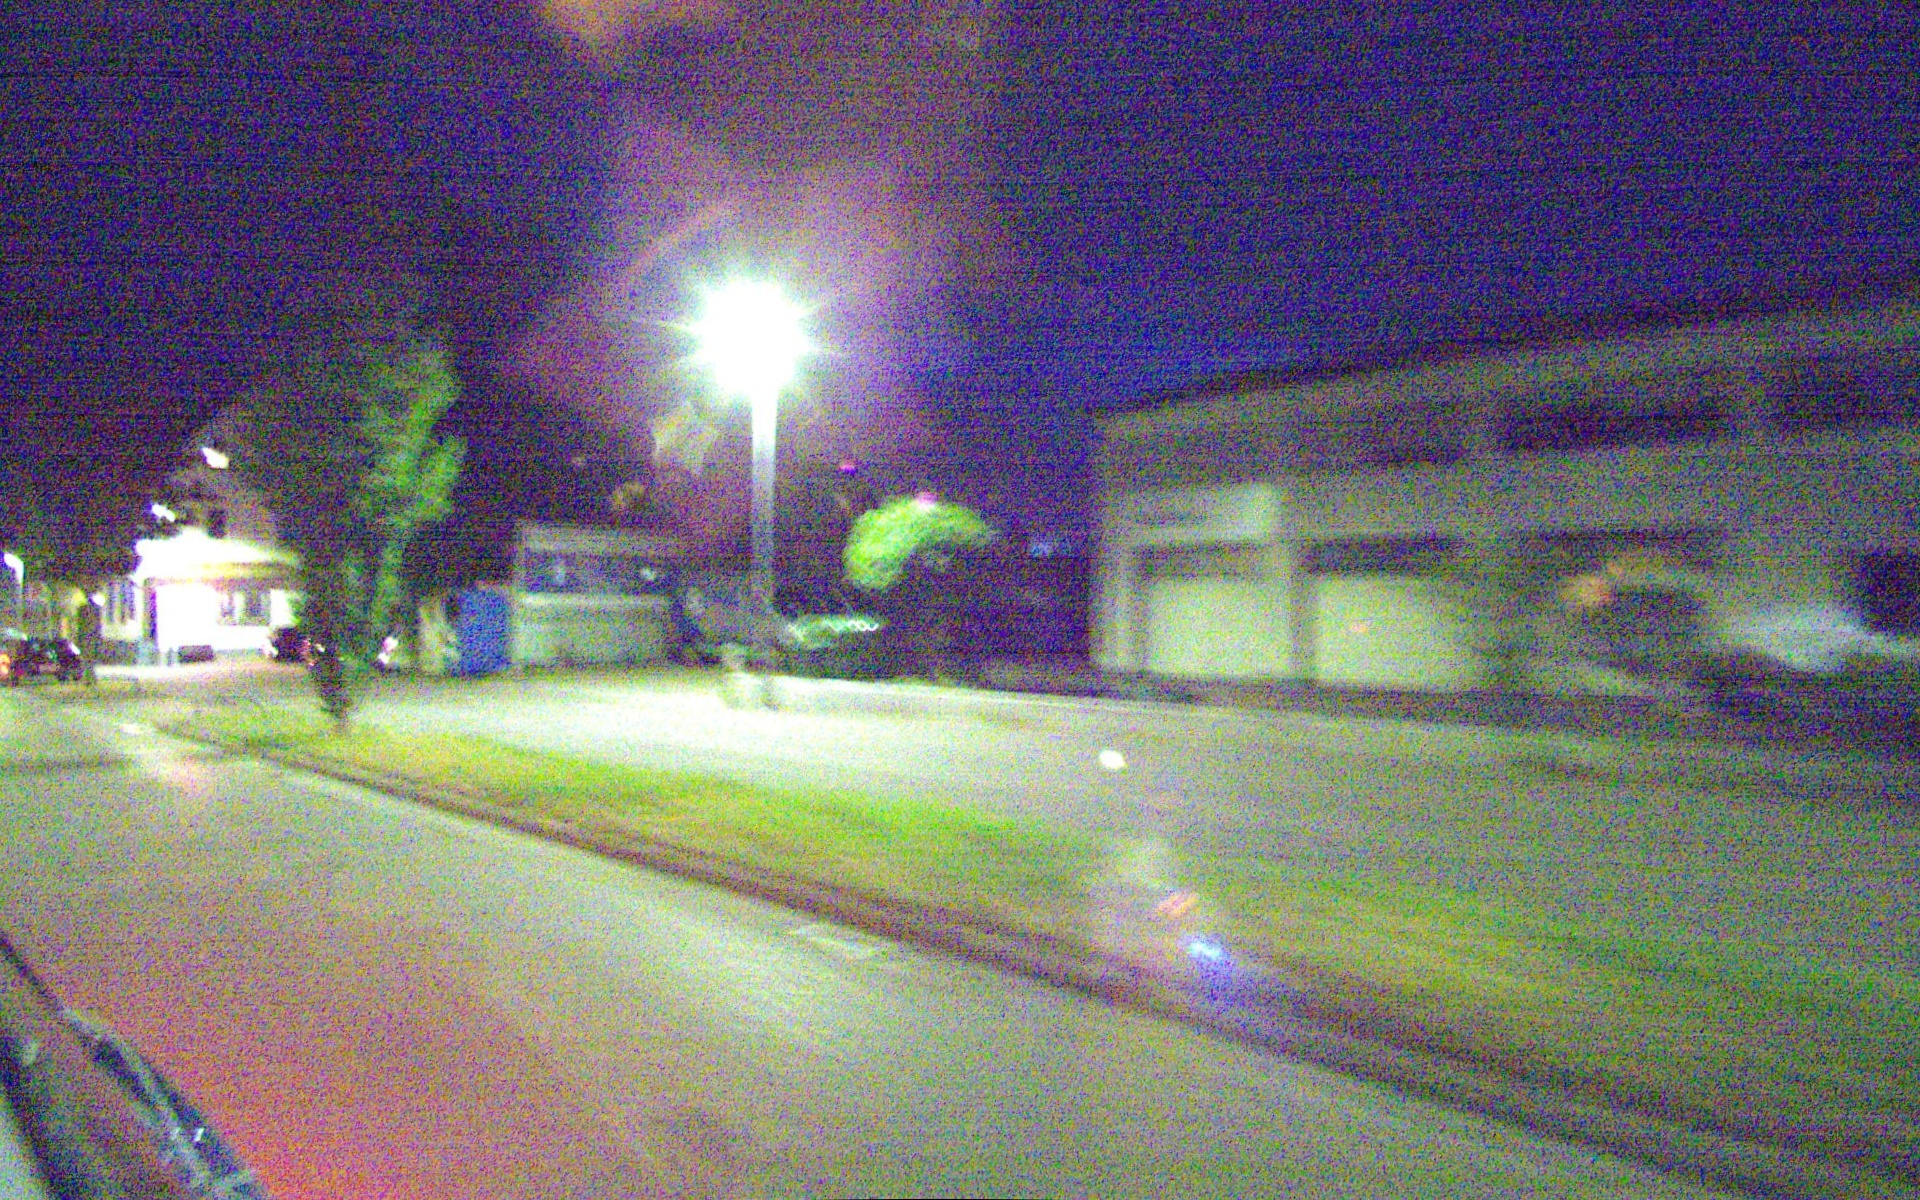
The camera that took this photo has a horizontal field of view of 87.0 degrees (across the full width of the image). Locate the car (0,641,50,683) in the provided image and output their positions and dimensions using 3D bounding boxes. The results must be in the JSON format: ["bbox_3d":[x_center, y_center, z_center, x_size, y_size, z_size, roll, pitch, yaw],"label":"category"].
[{"bbox_3d":[-35.937,2.317,38.261,3.963,1.480,1.752,-2,-2,41],"label":"car"}]

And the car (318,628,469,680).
[{"bbox_3d":[-19.406,1.858,34.768,2.000,1.675,4.071,-2,-4,42],"label":"car"}]

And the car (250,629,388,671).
[{"bbox_3d":[-25.671,1.968,40.654,2.024,1.573,4.276,-2,-2,34],"label":"car"}]

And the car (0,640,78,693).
[{"bbox_3d":[-28.555,1.983,31.036,4.006,1.480,1.731,-2,-2,41],"label":"car"}]

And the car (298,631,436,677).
[{"bbox_3d":[-21.562,1.918,36.884,2.000,1.475,3.944,-2,-1,42],"label":"car"}]

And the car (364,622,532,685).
[{"bbox_3d":[-15.030,1.600,29.883,1.943,1.716,3.953,-2,-4,34],"label":"car"}]

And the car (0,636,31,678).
[{"bbox_3d":[-39.925,2.341,41.689,4.468,1.649,1.909,-2,-1,41],"label":"car"}]

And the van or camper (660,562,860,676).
[{"bbox_3d":[-5.485,0.523,27.169,5.925,2.768,2.053,-2,-1,40],"label":"van or camper"}]

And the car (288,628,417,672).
[{"bbox_3d":[-23.586,1.905,39.382,2.001,1.630,3.942,-2,-2,44],"label":"car"}]
